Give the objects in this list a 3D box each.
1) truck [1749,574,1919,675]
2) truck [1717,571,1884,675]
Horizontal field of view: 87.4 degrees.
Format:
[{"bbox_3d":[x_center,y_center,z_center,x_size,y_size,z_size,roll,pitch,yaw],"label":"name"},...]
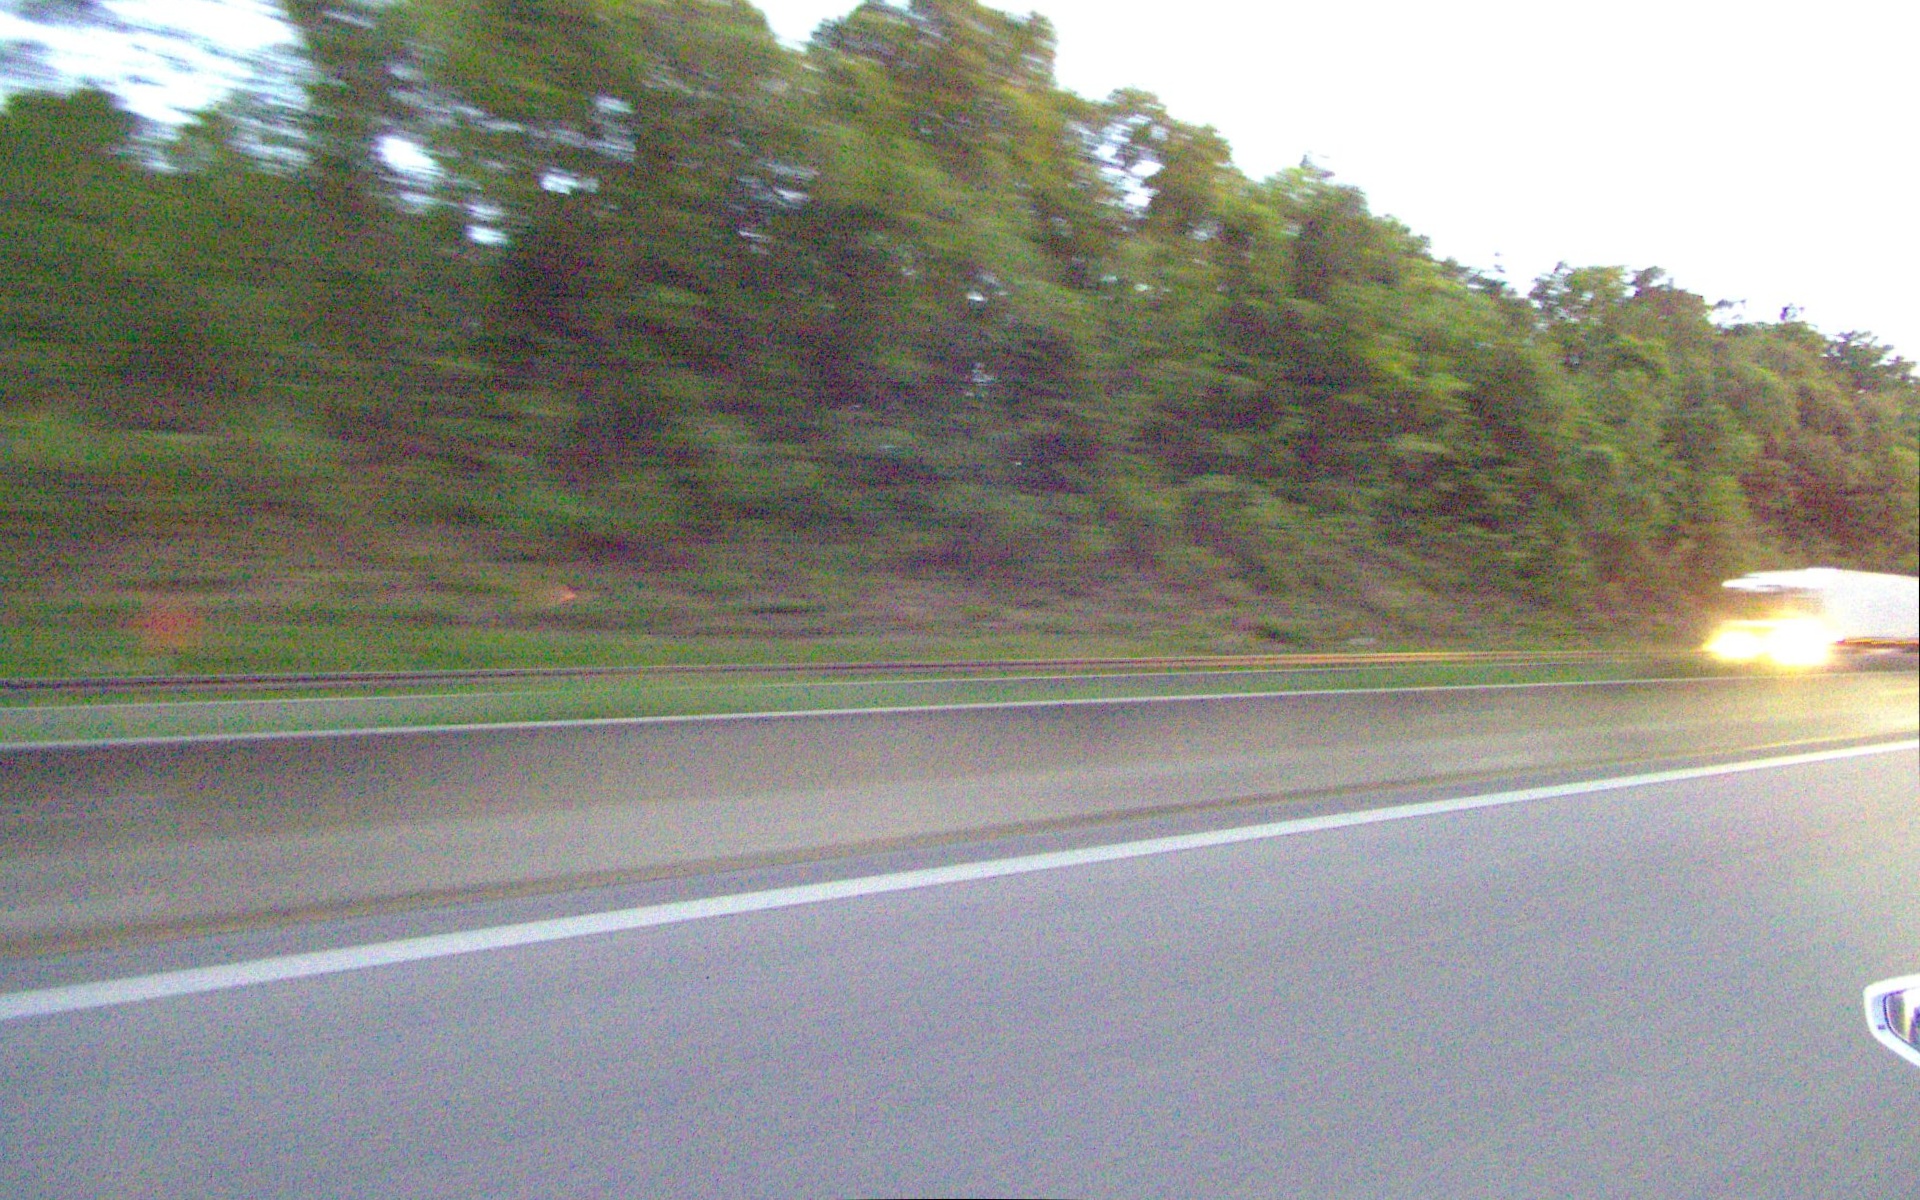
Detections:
[{"bbox_3d":[41.023,1.194,45.652,14.332,4.056,3.340,1,-2,-31],"label":"truck"},{"bbox_3d":[35.300,1.014,42.156,6.801,4.056,3.363,1,-2,-31],"label":"truck"}]
